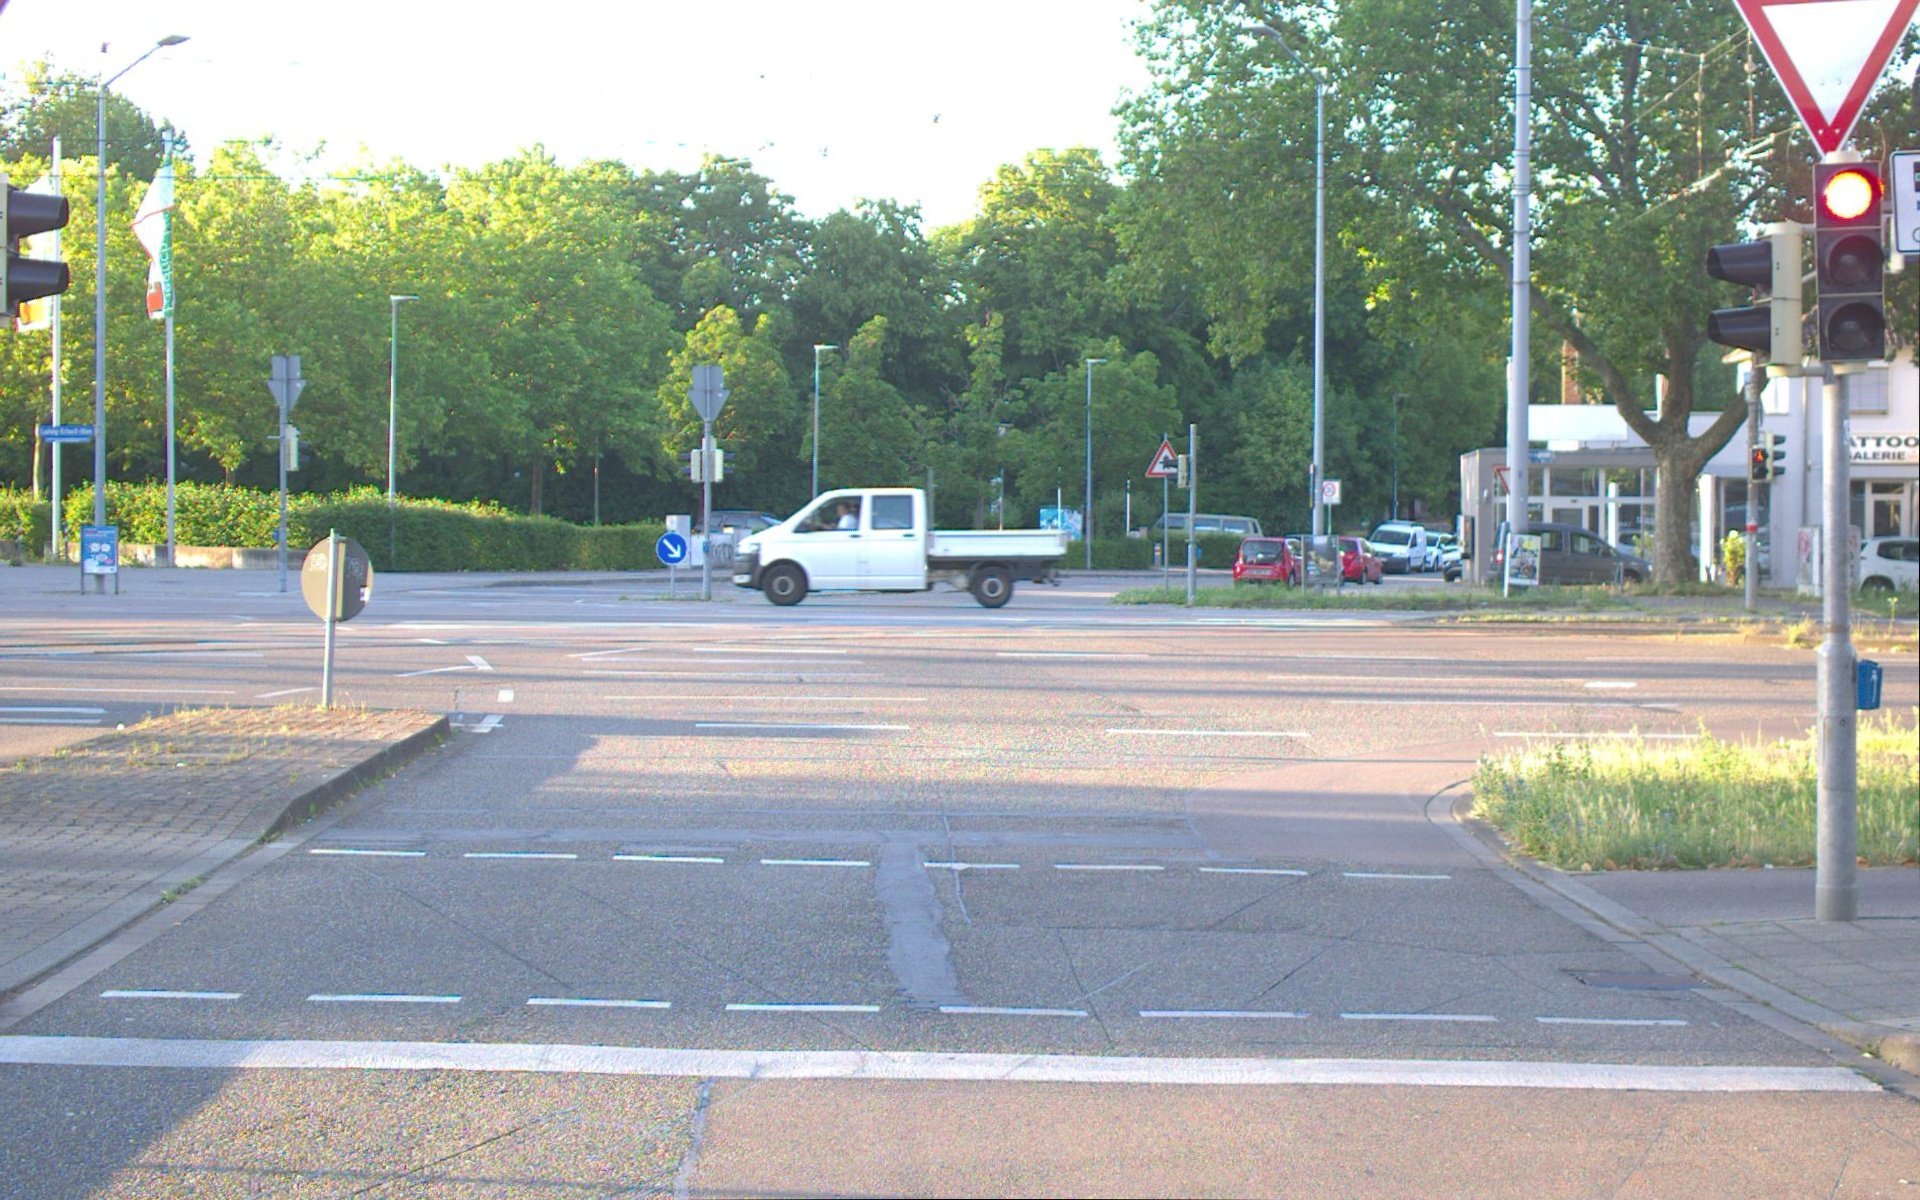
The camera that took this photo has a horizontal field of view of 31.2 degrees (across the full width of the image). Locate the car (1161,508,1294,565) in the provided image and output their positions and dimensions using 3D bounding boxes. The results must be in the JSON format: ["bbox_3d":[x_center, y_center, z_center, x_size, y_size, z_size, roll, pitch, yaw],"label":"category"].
[{"bbox_3d":[9.778,-2.314,125.869,4.774,1.999,2.000,0,0,2],"label":"car"}]

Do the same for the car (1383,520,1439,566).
[{"bbox_3d":[17.878,-2.247,136.078,1.864,1.788,3.998,1,0,12],"label":"car"}]

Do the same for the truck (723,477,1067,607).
[{"bbox_3d":[-1.044,-0.963,56.691,5.556,2.047,2.068,1,1,0],"label":"truck"}]

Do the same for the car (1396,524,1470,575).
[{"bbox_3d":[15.918,-1.673,115.593,1.995,1.656,3.997,1,0,15],"label":"car"}]

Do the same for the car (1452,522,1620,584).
[{"bbox_3d":[14.908,-1.214,89.163,4.220,1.547,1.999,1,0,7],"label":"car"}]

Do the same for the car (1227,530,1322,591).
[{"bbox_3d":[8.773,-1.095,95.682,1.995,1.656,3.997,1,0,15],"label":"car"}]

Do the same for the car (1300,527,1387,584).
[{"bbox_3d":[11.553,-1.334,103.368,1.995,1.656,3.997,1,0,15],"label":"car"}]

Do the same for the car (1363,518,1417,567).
[{"bbox_3d":[16.423,-2.185,131.184,1.864,1.788,3.998,1,0,10],"label":"car"}]

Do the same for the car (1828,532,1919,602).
[{"bbox_3d":[20.270,-0.682,72.329,3.741,1.435,1.663,1,0,9],"label":"car"}]
